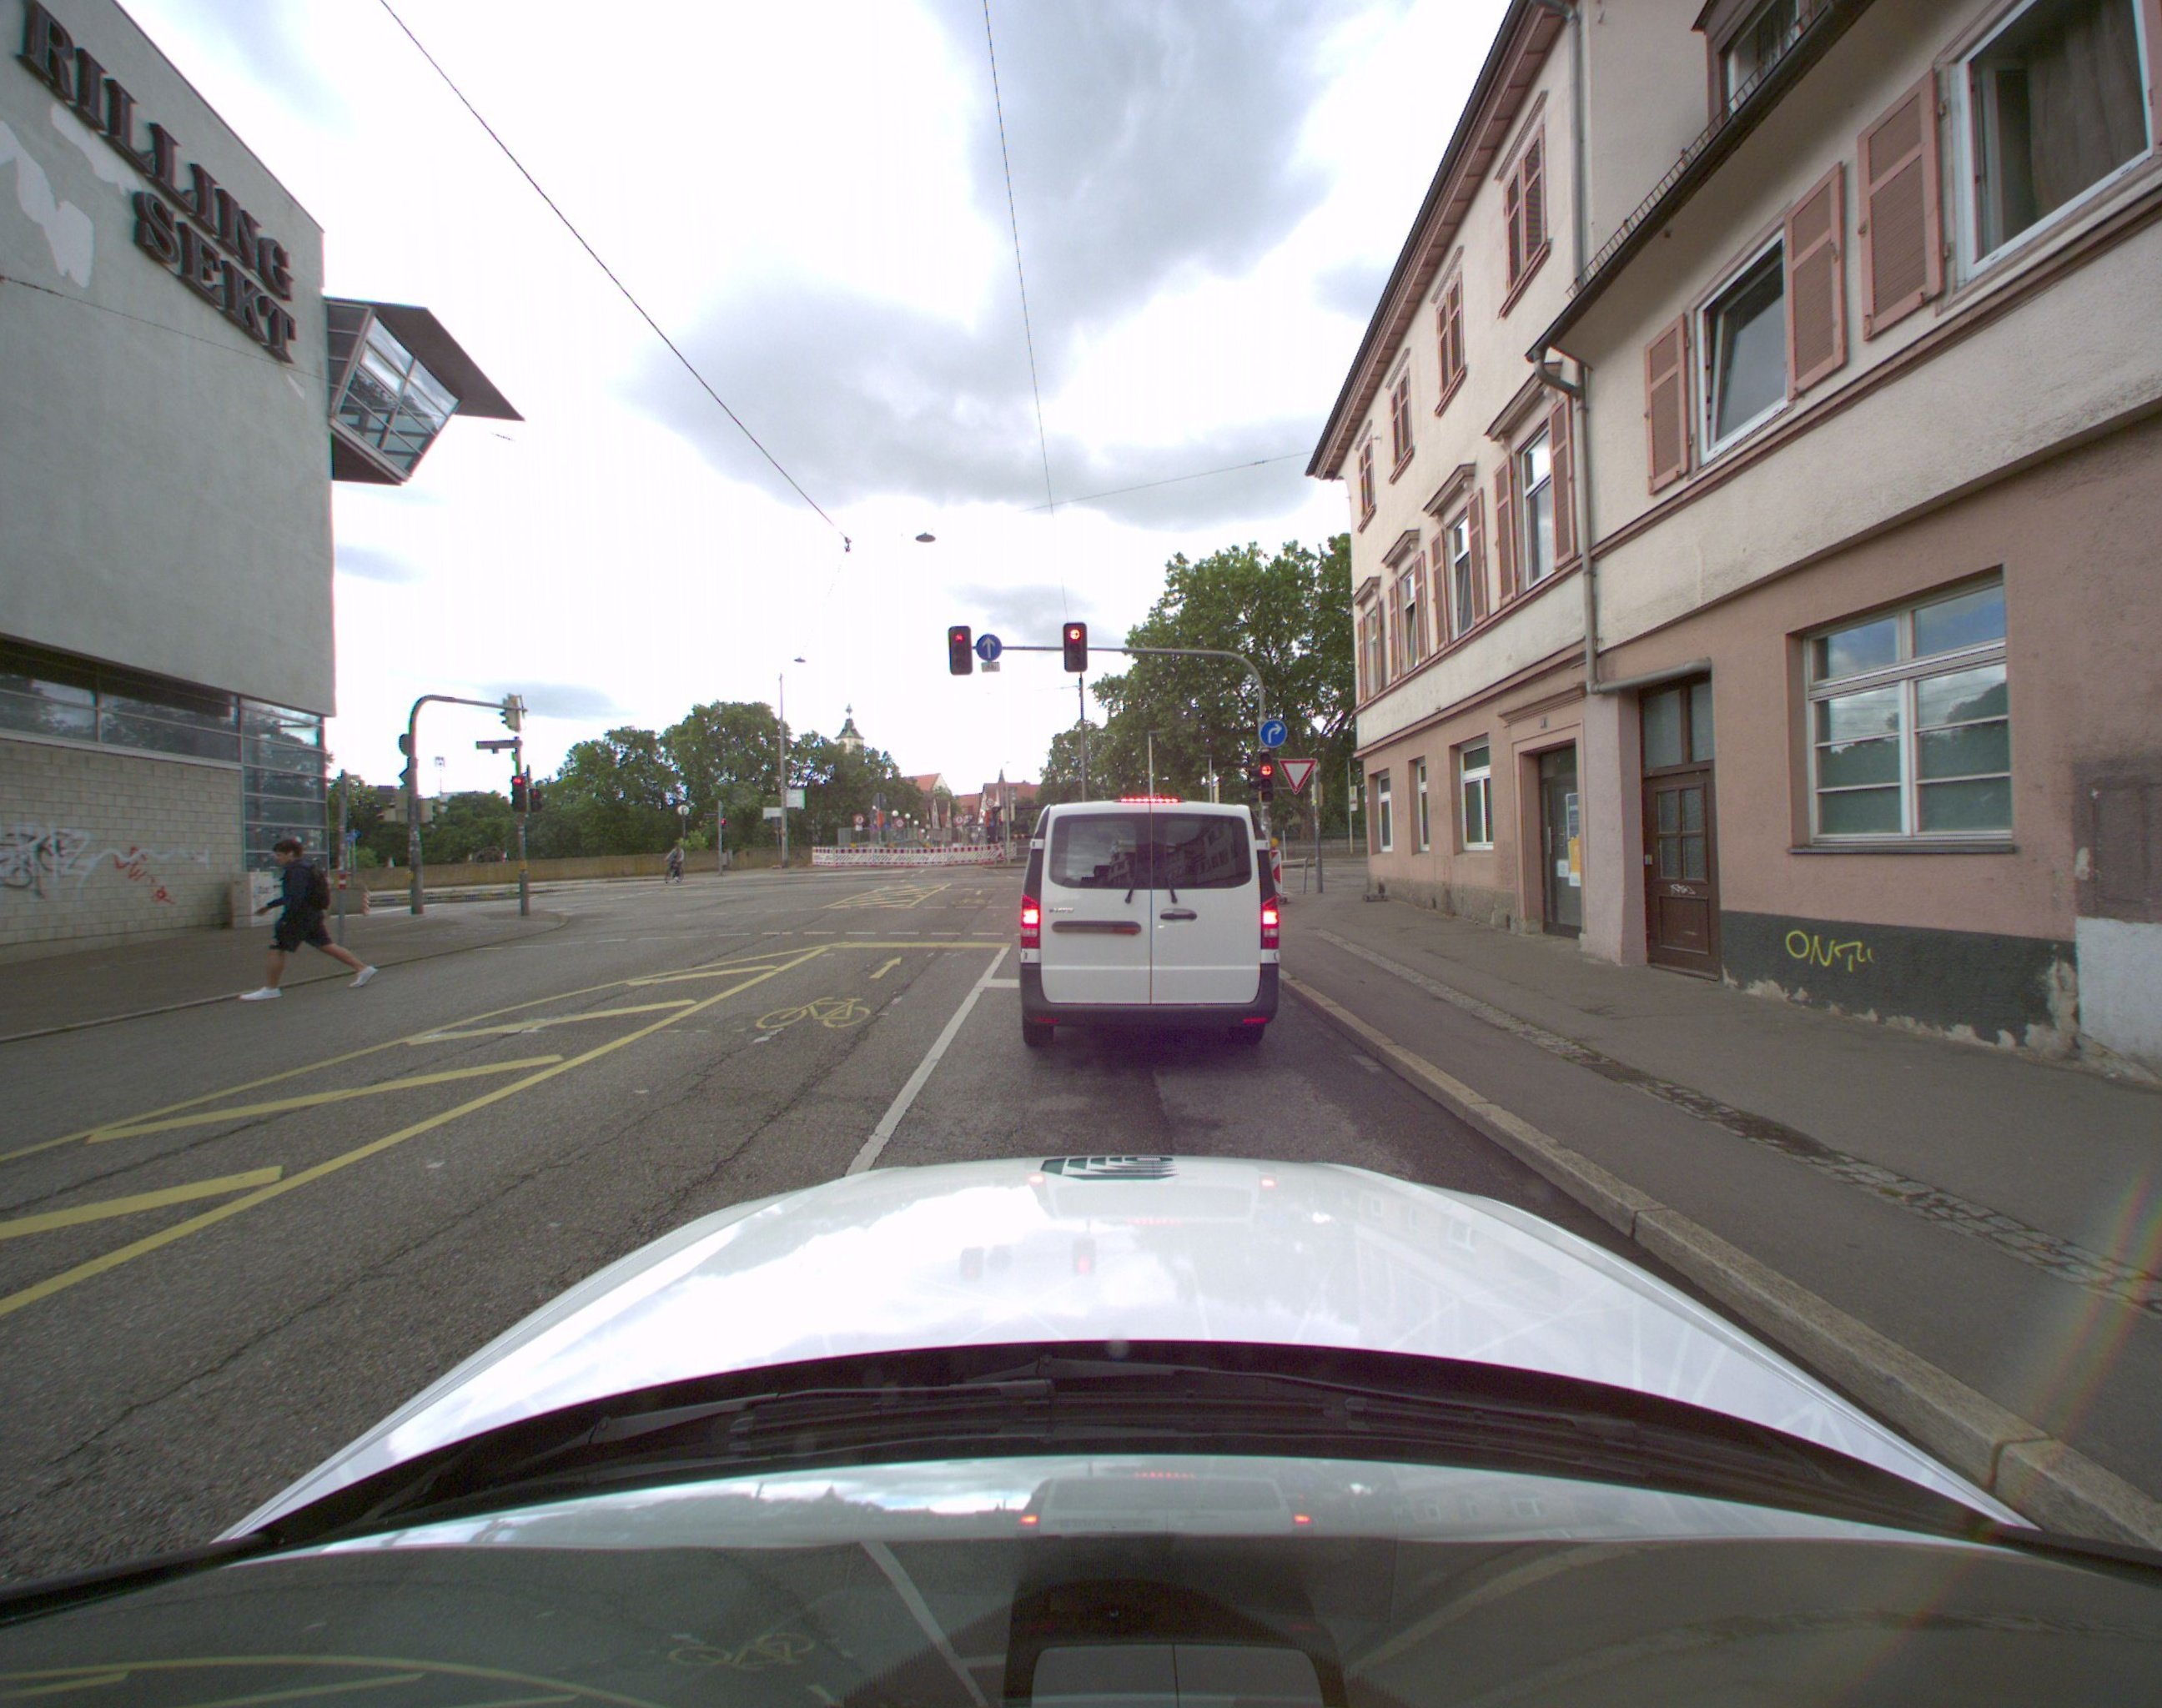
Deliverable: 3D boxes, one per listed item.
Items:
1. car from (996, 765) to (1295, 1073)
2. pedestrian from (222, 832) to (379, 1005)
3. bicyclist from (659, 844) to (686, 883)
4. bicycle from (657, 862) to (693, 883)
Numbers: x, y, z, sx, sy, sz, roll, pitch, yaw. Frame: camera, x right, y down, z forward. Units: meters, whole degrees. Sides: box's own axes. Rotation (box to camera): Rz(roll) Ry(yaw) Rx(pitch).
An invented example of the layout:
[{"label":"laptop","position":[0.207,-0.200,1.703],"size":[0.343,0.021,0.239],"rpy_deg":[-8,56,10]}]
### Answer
[{"label":"car","position":[0.500,0.379,7.700],"size":[1.943,2.013,4.700],"rpy_deg":[0,1,2]},{"label":"pedestrian","position":[-9.133,0.686,9.602],"size":[1.095,1.886,1.047],"rpy_deg":[-1,1,-32]},{"label":"bicyclist","position":[-18.475,0.421,36.829],"size":[0.719,1.701,0.812],"rpy_deg":[-2,0,7]},{"label":"bicycle","position":[-18.444,0.835,37.052],"size":[0.538,0.892,1.883],"rpy_deg":[-2,0,6]}]
